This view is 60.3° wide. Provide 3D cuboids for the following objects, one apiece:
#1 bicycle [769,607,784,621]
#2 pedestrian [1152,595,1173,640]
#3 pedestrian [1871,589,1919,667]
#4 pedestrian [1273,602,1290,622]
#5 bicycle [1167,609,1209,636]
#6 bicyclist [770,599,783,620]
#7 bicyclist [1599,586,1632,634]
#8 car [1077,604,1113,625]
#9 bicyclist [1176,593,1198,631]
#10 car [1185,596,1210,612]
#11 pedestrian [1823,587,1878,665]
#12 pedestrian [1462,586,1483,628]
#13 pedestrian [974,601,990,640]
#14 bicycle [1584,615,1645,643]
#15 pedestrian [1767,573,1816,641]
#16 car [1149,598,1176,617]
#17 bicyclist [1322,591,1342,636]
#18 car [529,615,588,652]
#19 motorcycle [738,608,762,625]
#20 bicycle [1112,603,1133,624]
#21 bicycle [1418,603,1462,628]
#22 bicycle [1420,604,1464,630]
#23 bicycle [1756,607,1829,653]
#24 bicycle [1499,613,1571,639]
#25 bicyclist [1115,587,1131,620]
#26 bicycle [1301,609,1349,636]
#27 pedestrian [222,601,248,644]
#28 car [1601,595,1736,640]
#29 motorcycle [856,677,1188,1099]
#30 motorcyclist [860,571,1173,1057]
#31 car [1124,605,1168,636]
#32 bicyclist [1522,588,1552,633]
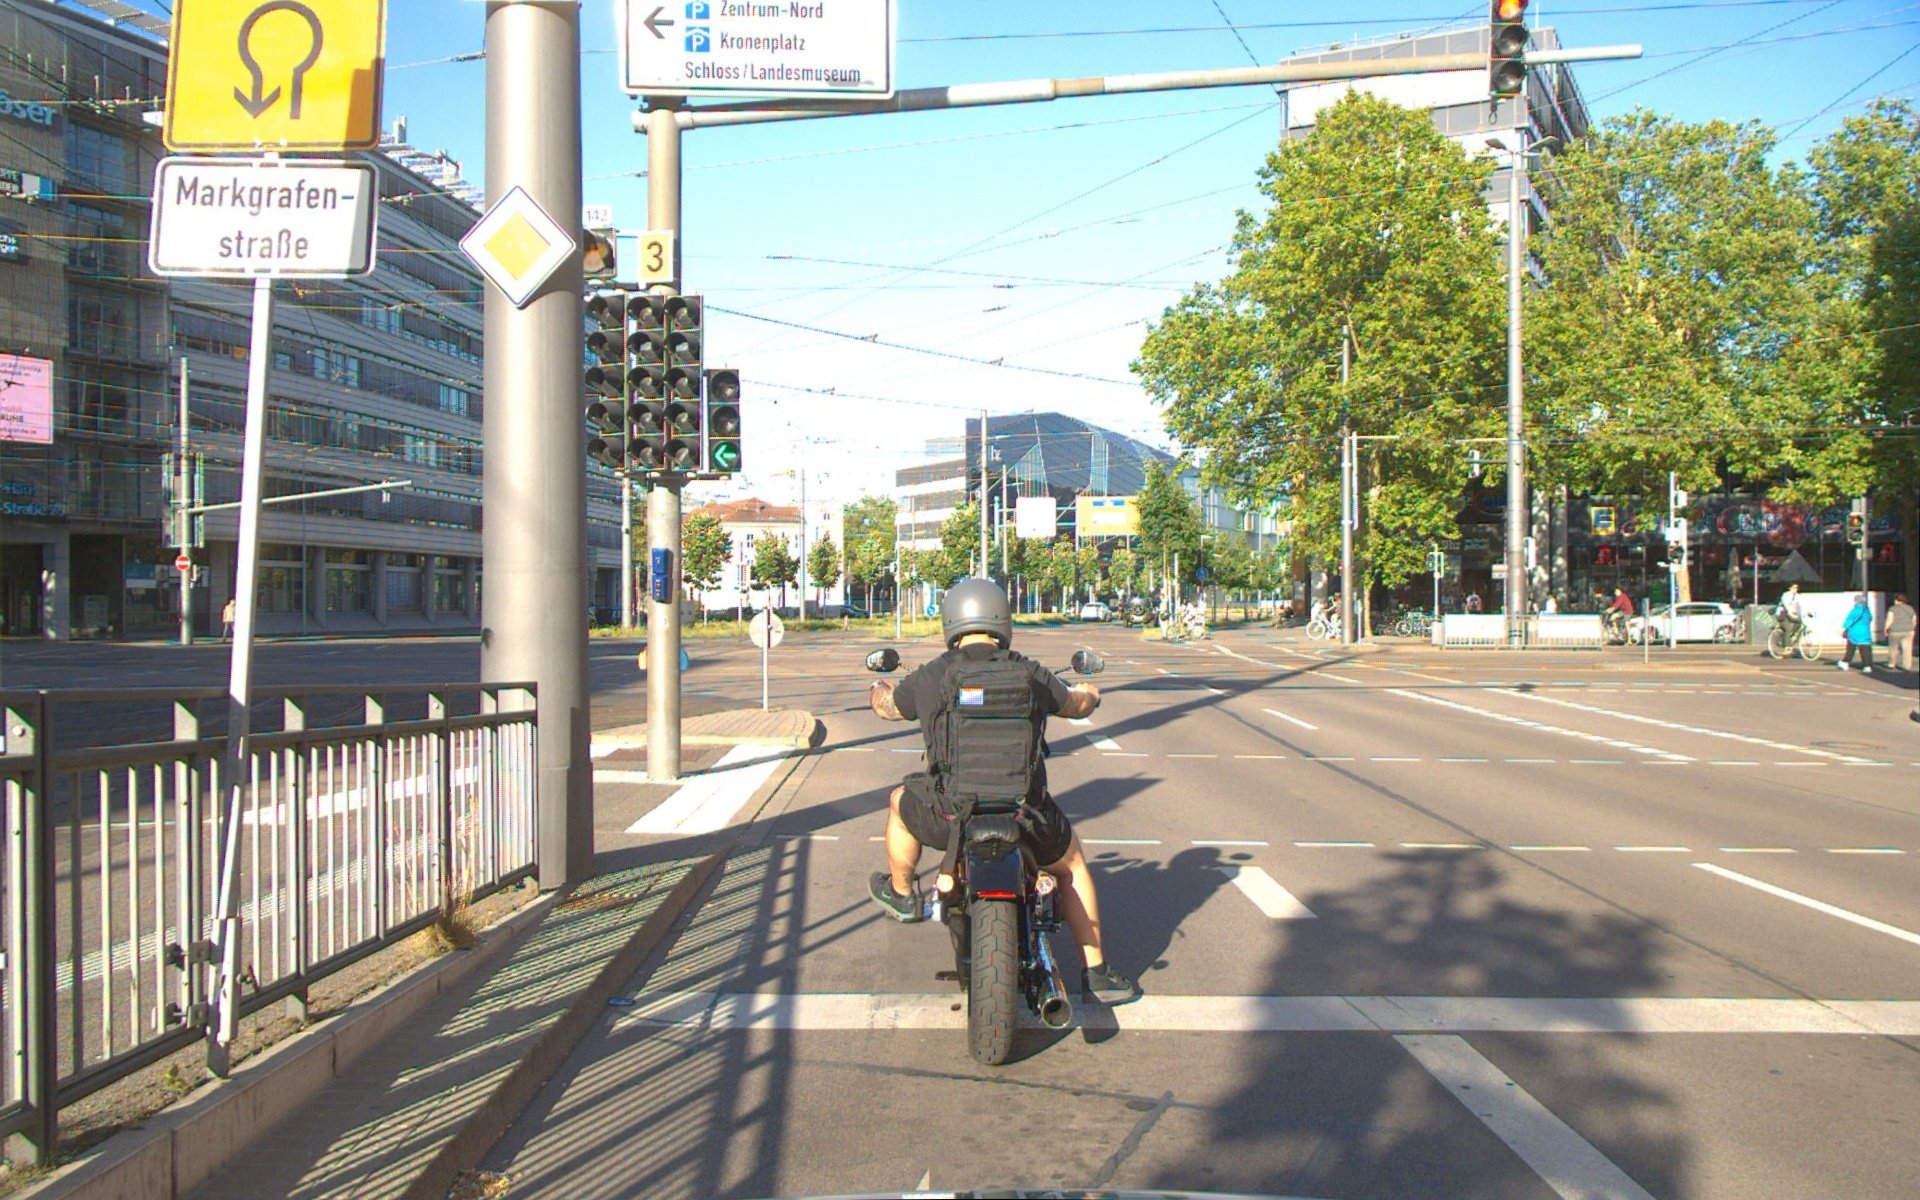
[{"bbox_3d":[-14.922,1.151,134.458,0.629,1.127,1.686,0,0,13],"label":"bicycle"},{"bbox_3d":[8.433,0.734,68.742,0.688,1.869,0.513,0,-1,35],"label":"pedestrian"},{"bbox_3d":[19.143,0.577,33.753,0.638,1.566,0.741,1,-1,-8],"label":"pedestrian"},{"bbox_3d":[17.528,0.639,90.211,0.768,1.075,0.814,-1,0,22],"label":"pedestrian"},{"bbox_3d":[9.187,0.907,66.627,1.594,1.039,0.516,-1,-1,23],"label":"bicycle"},{"bbox_3d":[-14.924,0.764,134.450,0.747,1.696,0.994,0,0,14],"label":"bicyclist"},{"bbox_3d":[22.294,0.341,56.250,0.906,1.643,0.638,0,0,3],"label":"bicyclist"},{"bbox_3d":[10.196,1.094,125.071,1.861,1.534,4.002,1,-1,17],"label":"car"},{"bbox_3d":[9.160,0.494,66.650,0.727,1.529,0.570,-1,-1,23],"label":"bicyclist"},{"bbox_3d":[23.348,0.387,162.547,1.685,1.510,3.754,0,0,21],"label":"car"},{"bbox_3d":[18.172,0.523,33.763,0.662,1.566,0.741,1,-1,-8],"label":"pedestrian"},{"bbox_3d":[23.621,0.317,76.231,0.829,1.884,0.810,2,0,14],"label":"pedestrian"},{"bbox_3d":[0.892,0.856,68.255,0.643,1.610,0.489,0,0,3],"label":"pedestrian"},{"bbox_3d":[22.248,0.990,56.267,1.814,0.926,0.652,0,0,3],"label":"bicycle"},{"bbox_3d":[20.238,0.177,40.249,0.754,1.622,0.838,1,-1,-1],"label":"pedestrian"},{"bbox_3d":[18.385,0.688,150.290,1.684,1.686,3.755,0,0,19],"label":"car"},{"bbox_3d":[14.537,0.524,64.652,0.727,1.724,0.570,-1,-1,10],"label":"bicyclist"},{"bbox_3d":[-17.965,1.462,74.123,1.755,1.491,4.309,-1,1,-3],"label":"car"},{"bbox_3d":[-15.984,1.234,125.822,0.962,1.253,2.945,0,0,10],"label":"motorcycle"},{"bbox_3d":[13.259,1.093,134.755,0.994,1.607,3.576,0,0,17],"label":"bicycle"},{"bbox_3d":[19.543,0.647,67.333,1.668,1.003,0.391,0,0,13],"label":"bicycle"},{"bbox_3d":[19.217,0.684,65.956,1.668,1.003,0.391,0,0,13],"label":"bicycle"},{"bbox_3d":[20.223,0.719,40.226,0.773,1.070,1.922,1,-1,-1],"label":"bicycle"},{"bbox_3d":[25.318,1.132,72.885,2.976,1.133,0.836,0,0,16],"label":"bicycle"},{"bbox_3d":[13.303,0.248,134.838,0.994,2.670,1.472,0,0,17],"label":"bicyclist"},{"bbox_3d":[14.290,0.885,64.713,1.813,1.039,0.517,-1,-1,11],"label":"bicycle"},{"bbox_3d":[-31.531,0.965,71.981,0.660,1.855,0.886,-2,-1,5],"label":"pedestrian"},{"bbox_3d":[24.843,0.609,58.095,3.903,1.512,2.001,1,-1,3],"label":"car"},{"bbox_3d":[0.173,0.925,6.150,0.985,1.145,2.322,1,0,-1],"label":"motorcycle"},{"bbox_3d":[0.178,0.701,6.062,1.001,1.579,1.286,1,0,-1],"label":"motorcyclist"},{"bbox_3d":[11.916,1.278,105.695,2.010,1.906,4.229,1,-1,17],"label":"car"},{"bbox_3d":[25.423,0.463,72.885,1.200,1.965,0.836,0,0,16],"label":"bicyclist"}]
